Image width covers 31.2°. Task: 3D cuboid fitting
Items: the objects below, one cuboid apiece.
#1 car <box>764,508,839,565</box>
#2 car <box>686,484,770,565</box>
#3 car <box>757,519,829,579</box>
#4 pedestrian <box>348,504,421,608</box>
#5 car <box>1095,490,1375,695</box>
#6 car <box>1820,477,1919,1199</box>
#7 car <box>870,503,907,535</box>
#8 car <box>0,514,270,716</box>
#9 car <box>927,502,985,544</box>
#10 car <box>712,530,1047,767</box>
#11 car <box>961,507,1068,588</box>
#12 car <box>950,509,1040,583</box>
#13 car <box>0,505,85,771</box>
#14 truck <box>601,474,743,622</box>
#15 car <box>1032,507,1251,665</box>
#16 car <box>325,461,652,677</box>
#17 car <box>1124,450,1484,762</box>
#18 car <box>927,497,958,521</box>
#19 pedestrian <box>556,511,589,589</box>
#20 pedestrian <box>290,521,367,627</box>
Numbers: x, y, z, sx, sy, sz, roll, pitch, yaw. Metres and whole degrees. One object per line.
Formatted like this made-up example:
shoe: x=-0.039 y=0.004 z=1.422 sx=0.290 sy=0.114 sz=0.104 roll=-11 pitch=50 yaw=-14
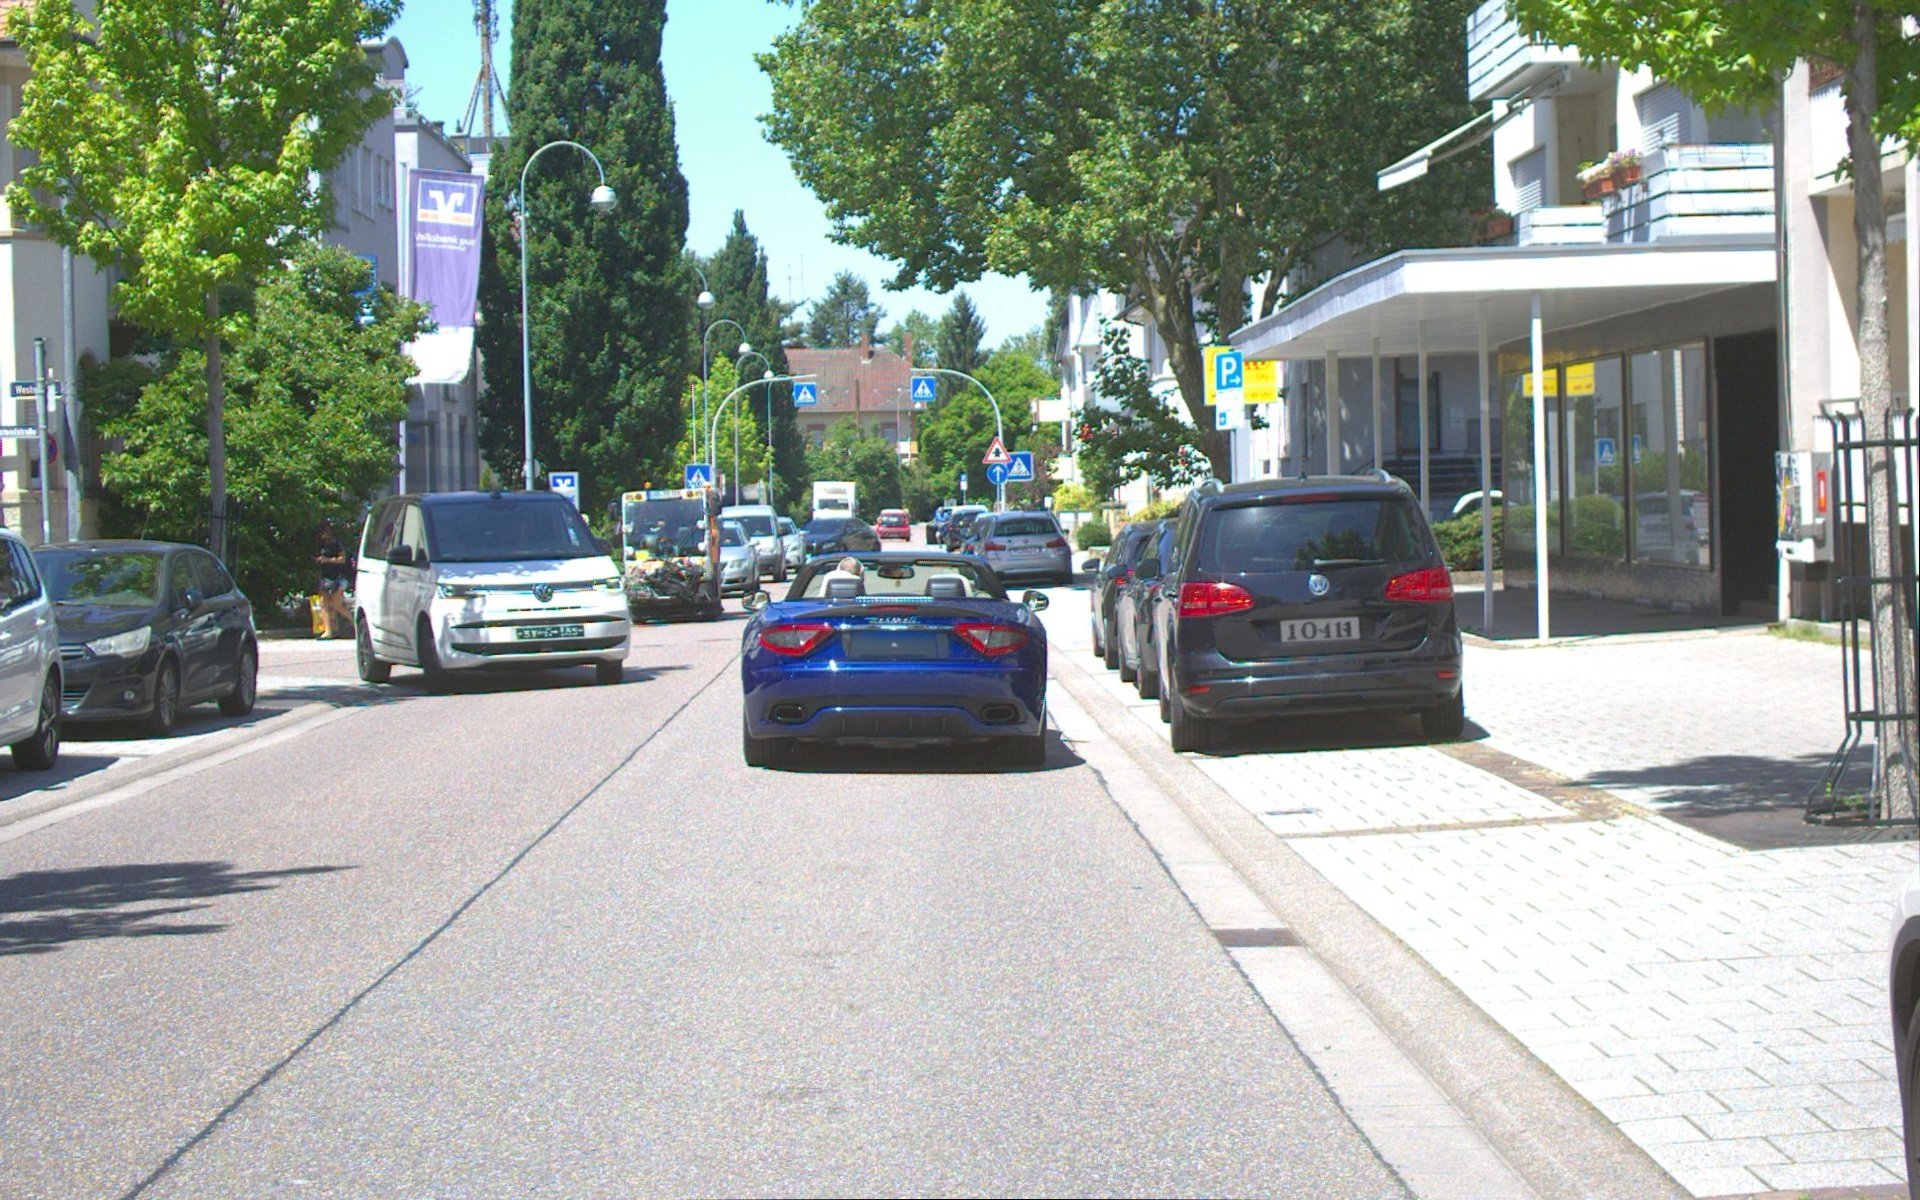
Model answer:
car: x=-4.418 y=-1.791 z=96.324 sx=1.950 sy=1.471 sz=4.138 roll=-2 pitch=2 yaw=-1
car: x=-5.389 y=-1.786 z=80.244 sx=1.769 sy=1.761 sz=4.138 roll=-2 pitch=2 yaw=-2
car: x=-4.400 y=-1.377 z=91.246 sx=1.769 sy=1.471 sz=4.138 roll=-2 pitch=2 yaw=-1
pedestrian: x=-7.804 y=-0.605 z=46.614 sx=0.694 sy=1.366 sz=0.596 roll=1 pitch=6 yaw=45
car: x=2.231 y=-0.097 z=29.077 sx=1.894 sy=1.525 sz=4.569 roll=-2 pitch=1 yaw=-1
car: x=2.598 y=0.566 z=4.801 sx=1.722 sy=1.578 sz=4.225 roll=-2 pitch=1 yaw=1
car: x=-3.460 y=-3.894 z=165.792 sx=1.769 sy=1.471 sz=4.138 roll=0 pitch=1 yaw=-2
car: x=-6.896 y=0.057 z=27.603 sx=1.754 sy=1.469 sz=4.321 roll=1 pitch=1 yaw=1
car: x=-0.163 y=-2.841 z=126.549 sx=1.950 sy=1.471 sz=4.138 roll=-2 pitch=2 yaw=-1
car: x=-0.552 y=0.239 z=22.621 sx=1.976 sy=1.393 sz=4.627 roll=0 pitch=1 yaw=-2
car: x=1.074 y=-1.091 z=69.629 sx=1.976 sy=1.445 sz=4.350 roll=-3 pitch=2 yaw=-1
car: x=0.813 y=-1.308 z=81.873 sx=1.976 sy=1.551 sz=4.350 roll=-3 pitch=2 yaw=-1
car: x=-6.838 y=0.229 z=21.401 sx=1.824 sy=1.614 sz=4.393 roll=1 pitch=2 yaw=-2
truck: x=-4.389 y=-0.852 z=52.953 sx=1.804 sy=2.110 sz=4.715 roll=-2 pitch=2 yaw=-1
car: x=1.734 y=-0.171 z=34.090 sx=1.845 sy=1.409 sz=4.163 roll=-2 pitch=1 yaw=-1
car: x=-4.738 y=-0.320 z=33.880 sx=1.906 sy=1.916 sz=4.907 roll=-3 pitch=1 yaw=-23
car: x=2.208 y=-0.062 z=23.254 sx=1.993 sy=1.792 sz=4.570 roll=-2 pitch=3 yaw=1
car: x=-1.121 y=-5.952 z=224.428 sx=1.950 sy=1.471 sz=4.138 roll=-2 pitch=2 yaw=0
pedestrian: x=-7.900 y=-1.024 z=70.053 sx=0.587 sy=1.569 sz=0.781 roll=-1 pitch=1 yaw=-2
pedestrian: x=-8.586 y=-0.360 z=46.751 sx=0.769 sy=1.366 sz=0.550 roll=-6 pitch=5 yaw=-41
